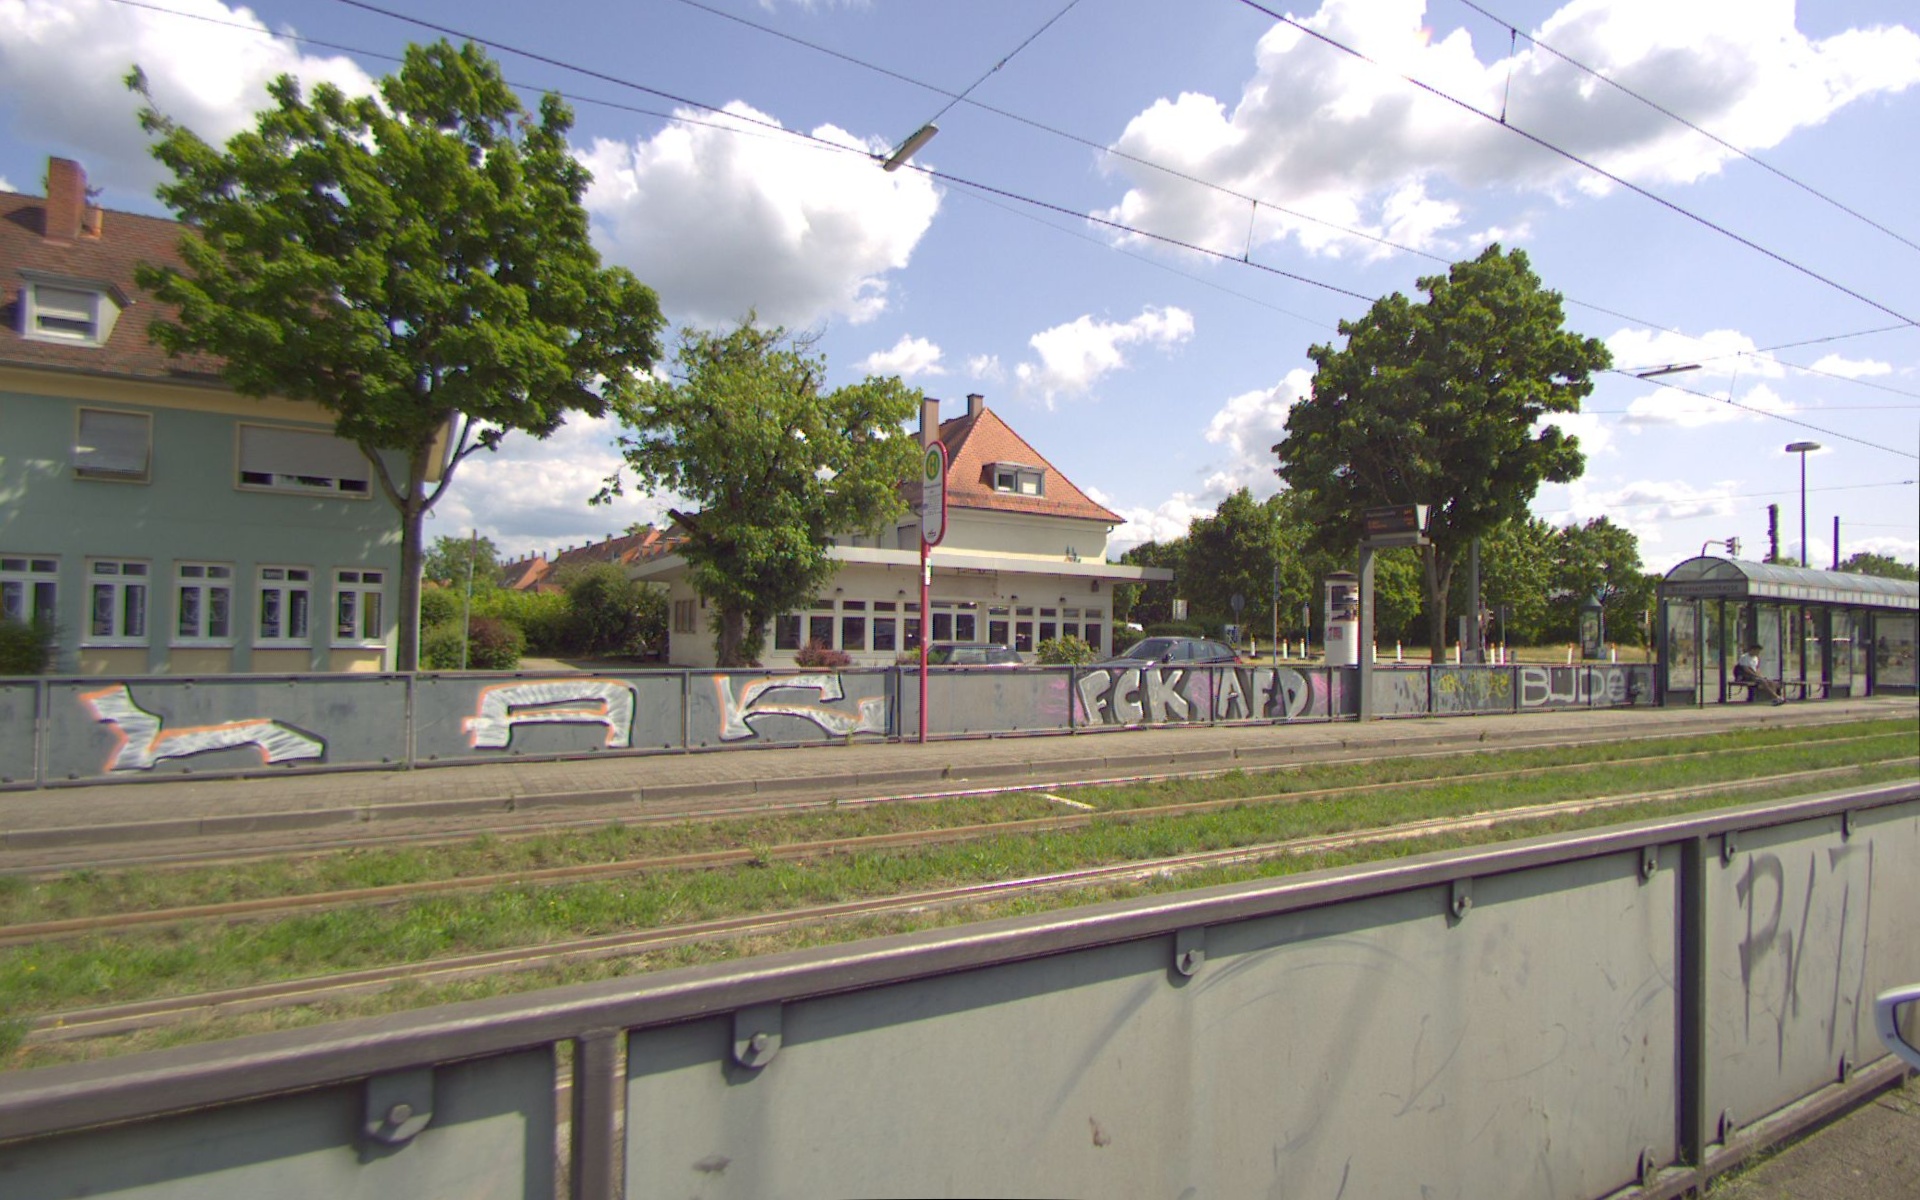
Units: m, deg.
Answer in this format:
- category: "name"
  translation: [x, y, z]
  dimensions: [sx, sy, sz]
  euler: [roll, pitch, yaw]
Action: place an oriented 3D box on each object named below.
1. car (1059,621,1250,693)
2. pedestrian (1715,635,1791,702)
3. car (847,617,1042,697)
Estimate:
- category: "car"
  translation: [4.923, 1.390, 25.186]
  dimensions: [4.707, 1.635, 2.046]
  euler: [2, -2, -36]
- category: "pedestrian"
  translation: [17.588, 1.506, 22.281]
  dimensions: [0.850, 1.394, 1.054]
  euler: [2, 0, -30]
- category: "car"
  translation: [-0.332, 1.216, 21.965]
  dimensions: [3.882, 1.605, 1.779]
  euler: [2, -1, -28]
